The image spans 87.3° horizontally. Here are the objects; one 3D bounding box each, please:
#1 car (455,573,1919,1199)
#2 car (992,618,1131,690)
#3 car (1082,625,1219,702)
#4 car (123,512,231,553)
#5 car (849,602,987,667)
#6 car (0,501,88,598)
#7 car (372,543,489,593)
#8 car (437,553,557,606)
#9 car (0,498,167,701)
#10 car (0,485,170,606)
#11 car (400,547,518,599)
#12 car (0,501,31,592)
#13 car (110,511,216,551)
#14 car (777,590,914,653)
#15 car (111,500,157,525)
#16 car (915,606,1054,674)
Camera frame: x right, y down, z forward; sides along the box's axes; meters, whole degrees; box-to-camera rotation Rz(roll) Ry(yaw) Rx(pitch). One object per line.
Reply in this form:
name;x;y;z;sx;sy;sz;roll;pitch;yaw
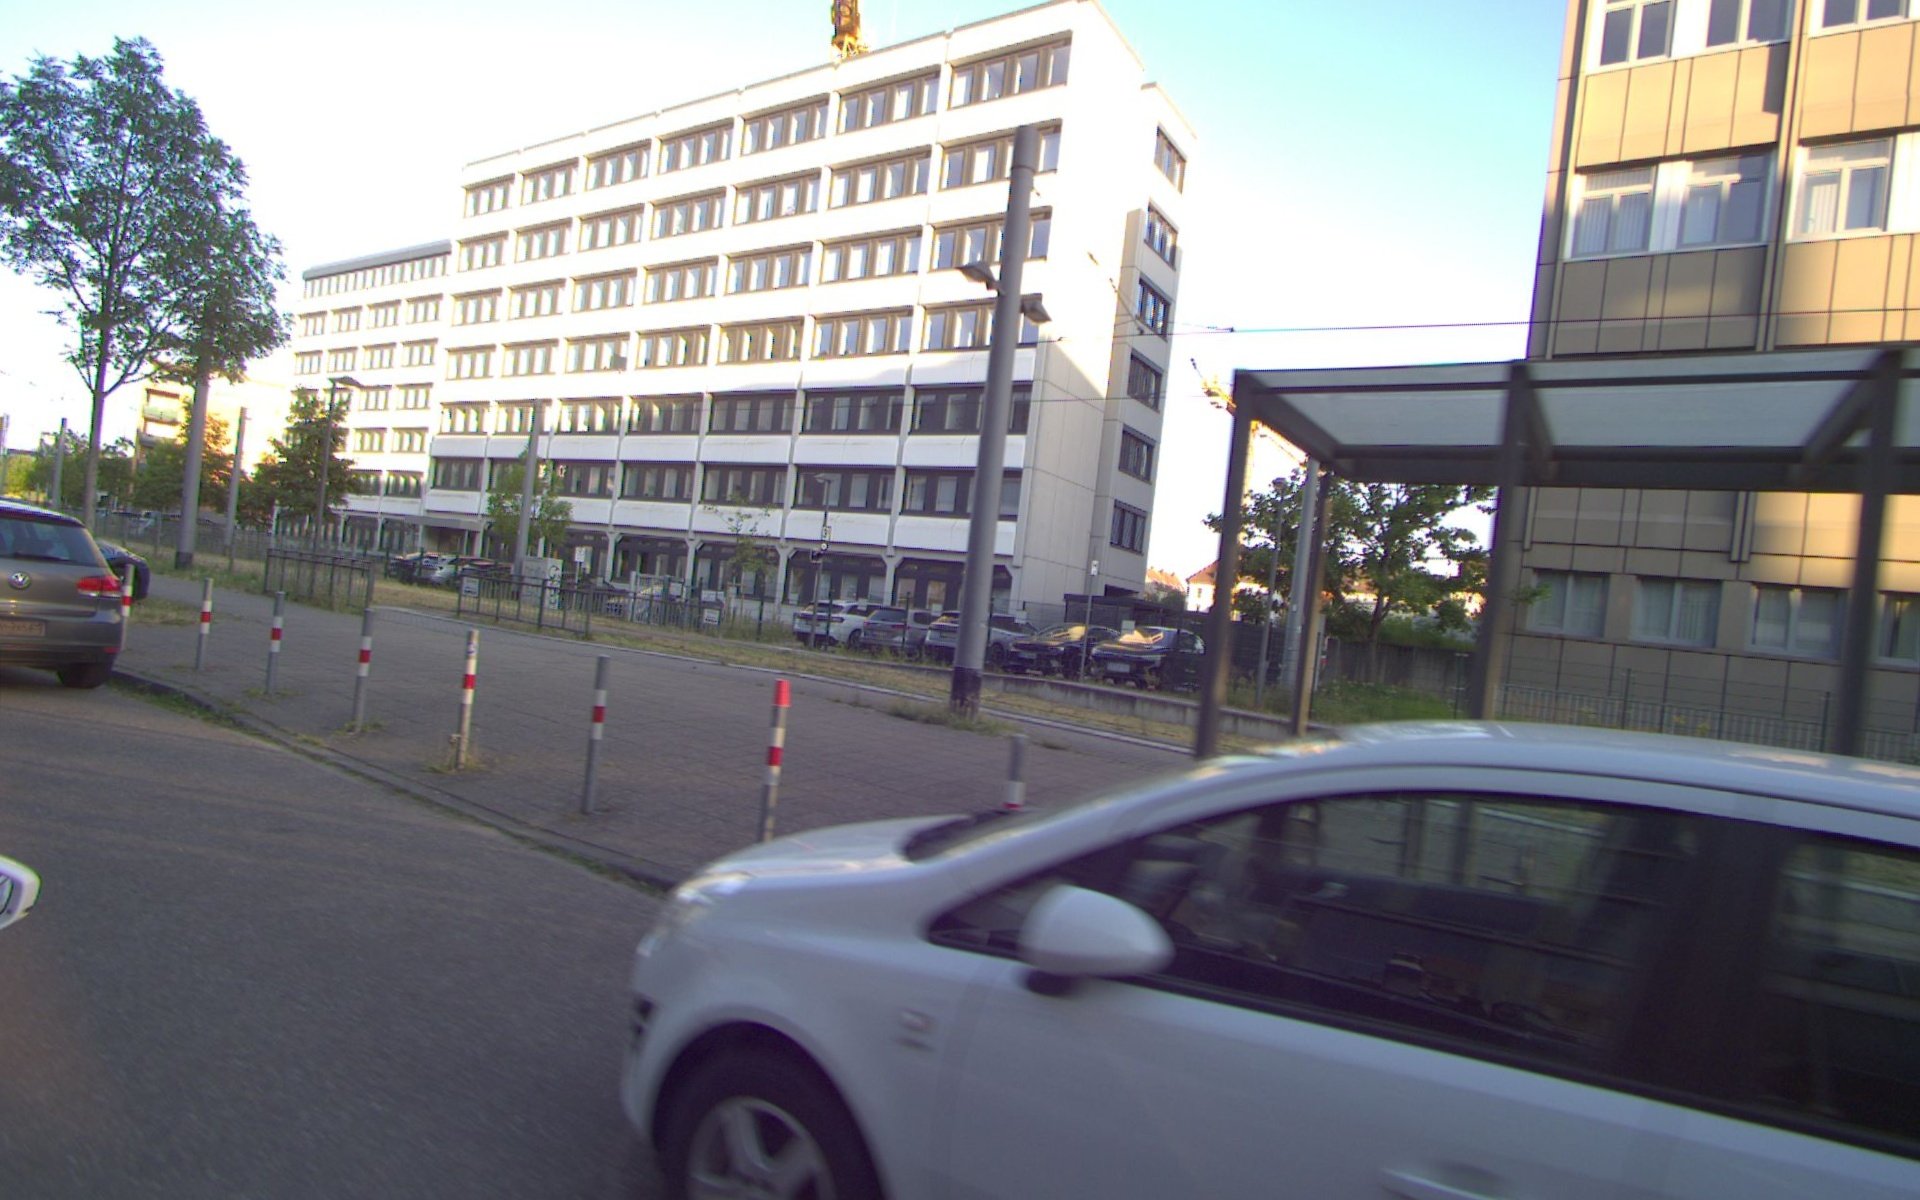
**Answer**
car;1.006;0.936;2.149;4.117;1.469;1.679;7;-1;31
car;2.626;1.340;25.249;1.649;1.506;3.986;7;1;34
car;4.623;1.489;23.983;1.649;1.506;3.986;7;1;34
car;-44.626;-3.816;57.417;1.667;1.621;4.500;6;-1;33
car;-1.081;0.973;27.902;1.649;1.506;3.986;7;1;34
car;-15.700;-0.889;15.140;1.706;1.482;3.998;7;-1;-4
car;-22.326;-1.308;42.566;1.566;1.413;3.996;7;-3;32
car;-18.275;-0.771;39.884;1.566;1.413;3.996;7;-3;32
car;-8.812;-0.185;8.399;3.928;1.482;1.738;6;-3;25
car;-13.121;-0.777;13.453;1.892;1.539;3.999;6;0;-1
car;-20.444;-1.068;41.219;1.566;1.413;3.996;7;-3;32
car;-18.190;-1.160;16.708;1.705;1.612;4.003;8;-3;-2
car;-46.558;-4.027;58.847;1.667;1.621;4.500;6;-1;33
car;-3.303;0.668;29.729;1.794;1.533;3.989;7;1;32
car;-105.310;-11.140;128.277;4.128;2.615;1.687;7;0;-35
car;0.727;1.058;26.573;1.649;1.506;3.986;7;1;34
